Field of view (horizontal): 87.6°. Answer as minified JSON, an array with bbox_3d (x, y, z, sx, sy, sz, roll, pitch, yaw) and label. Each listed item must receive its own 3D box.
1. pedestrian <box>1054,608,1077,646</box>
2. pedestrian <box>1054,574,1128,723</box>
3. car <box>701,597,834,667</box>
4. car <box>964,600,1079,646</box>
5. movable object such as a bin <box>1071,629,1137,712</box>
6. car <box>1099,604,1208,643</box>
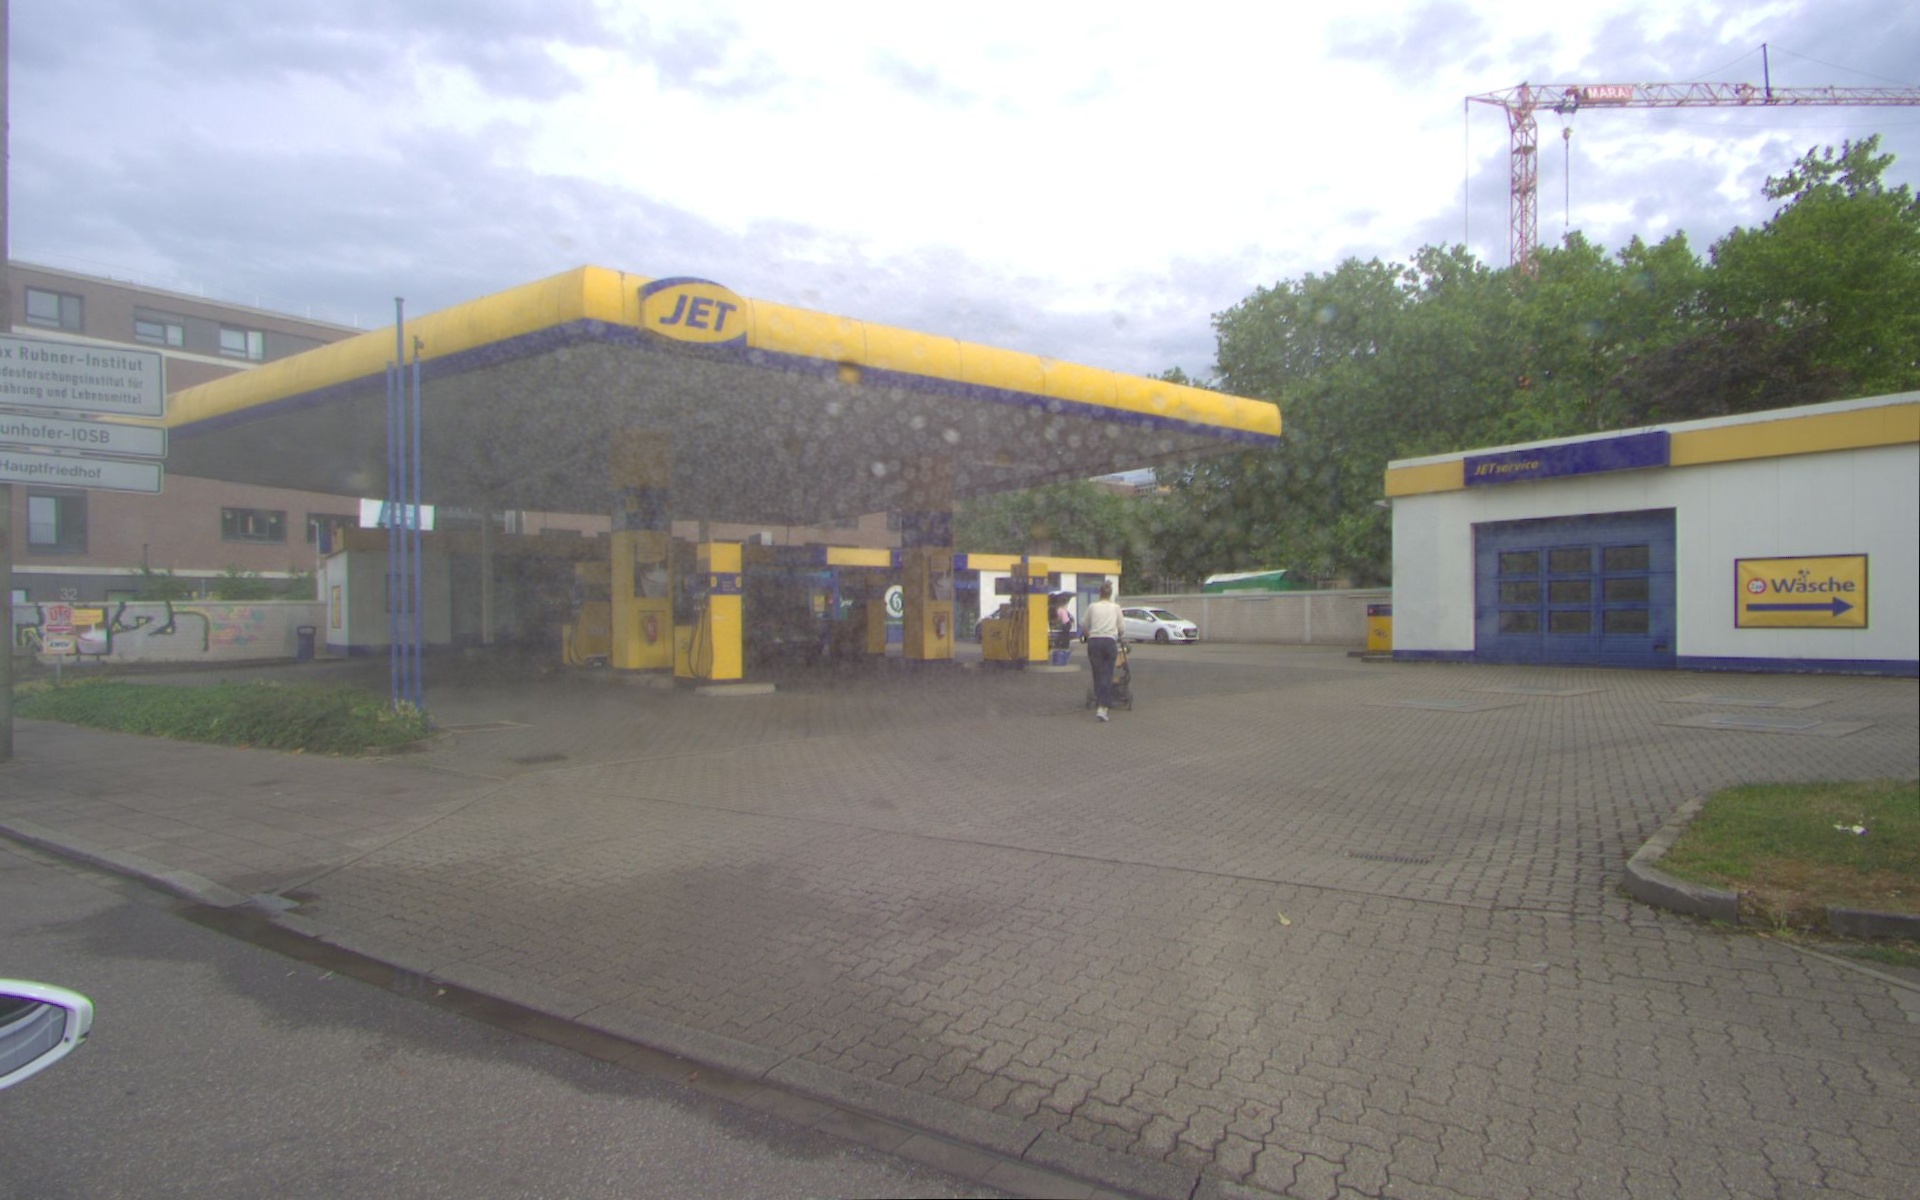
[{"bbox_3d":[3.824,0.982,36.465,0.573,1.364,0.607,1,-2,-38],"label":"pedestrian"},{"bbox_3d":[1.704,0.586,12.885,0.756,1.821,1.160,0,2,17],"label":"pedestrian"},{"bbox_3d":[-4.881,0.714,24.899,1.967,1.517,4.303,-1,1,-29],"label":"car"},{"bbox_3d":[2.293,0.913,38.265,1.821,1.658,4.440,2,-3,-42],"label":"car"},{"bbox_3d":[2.013,0.953,13.882,0.756,1.053,1.022,0,2,18],"label":"movable object such as a bin"},{"bbox_3d":[8.039,1.034,41.920,1.915,1.546,4.302,2,-3,-38],"label":"car"}]
